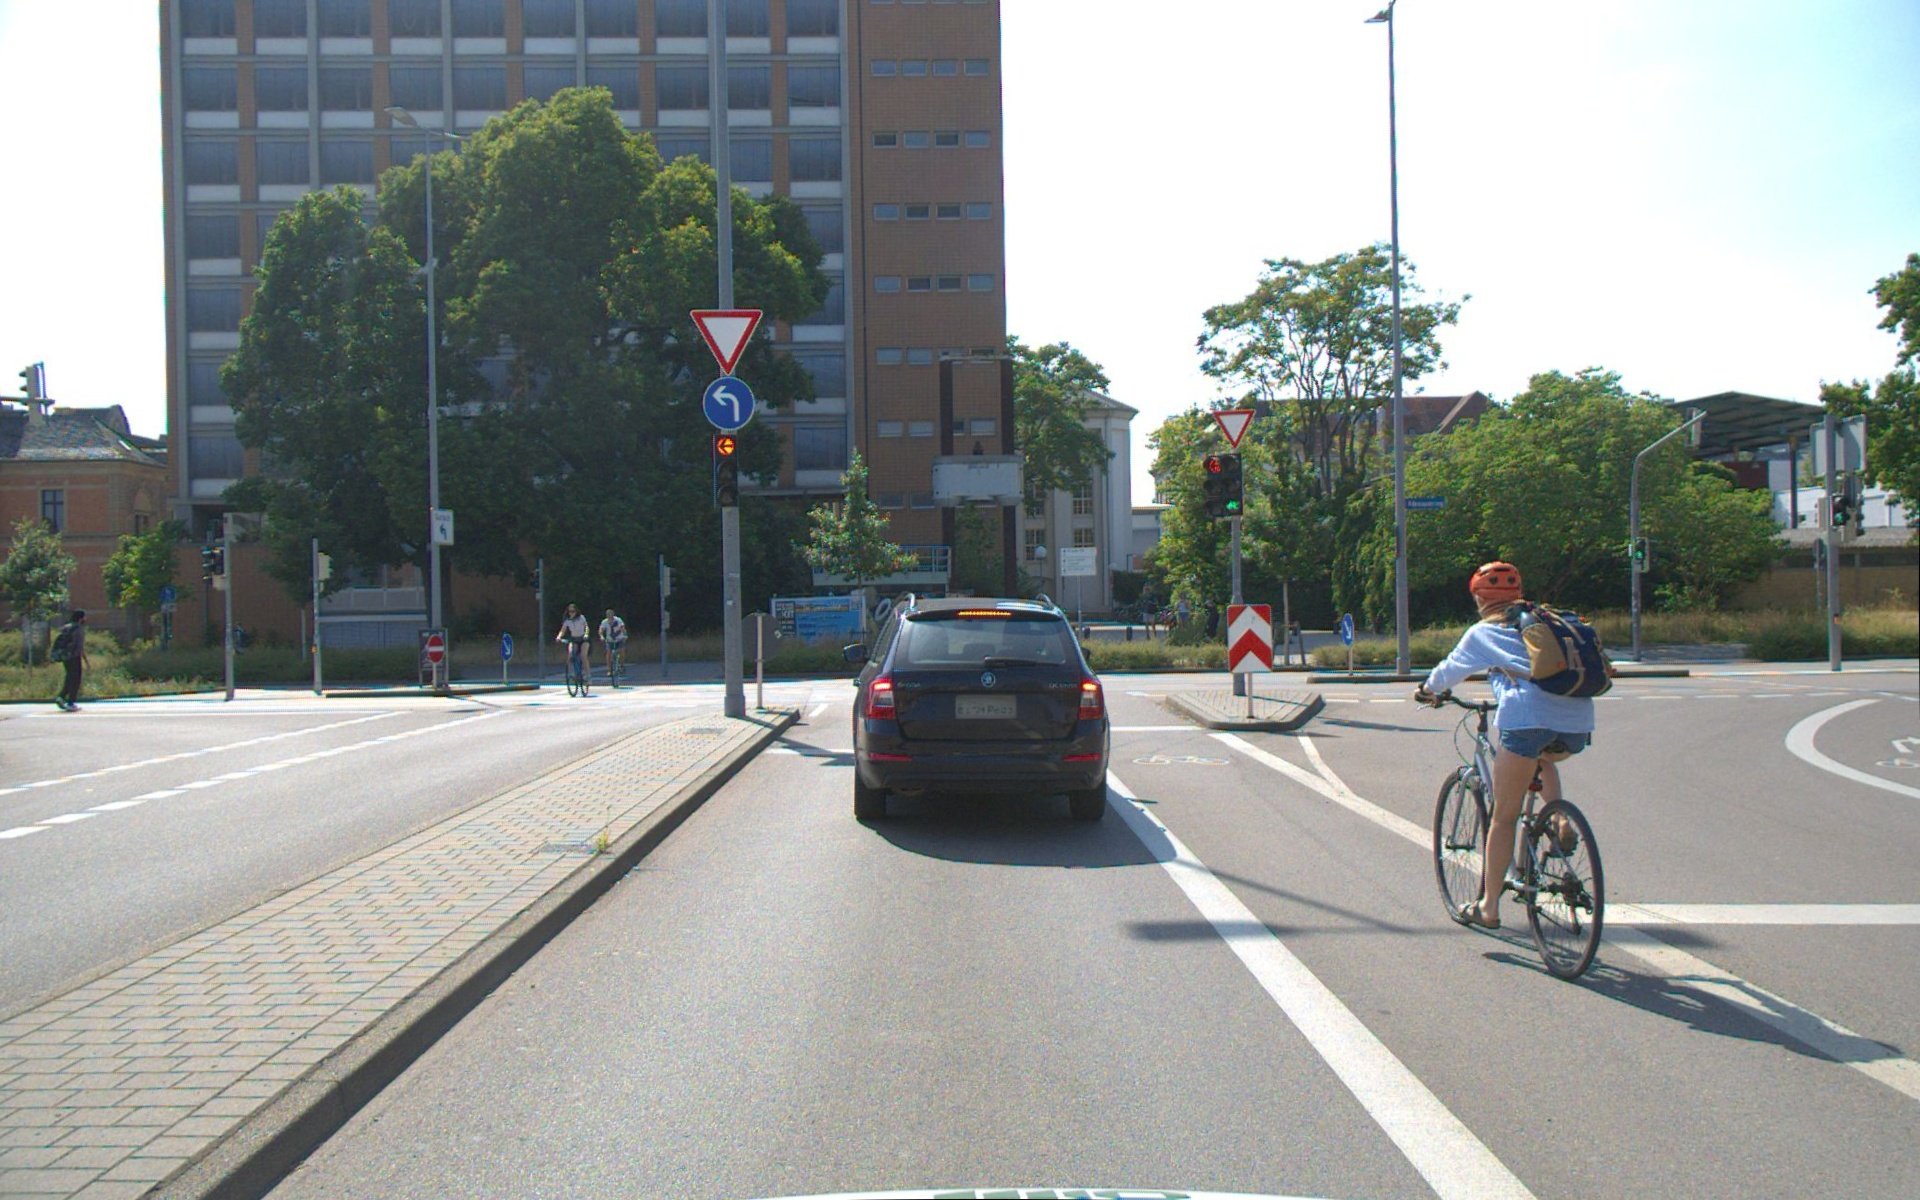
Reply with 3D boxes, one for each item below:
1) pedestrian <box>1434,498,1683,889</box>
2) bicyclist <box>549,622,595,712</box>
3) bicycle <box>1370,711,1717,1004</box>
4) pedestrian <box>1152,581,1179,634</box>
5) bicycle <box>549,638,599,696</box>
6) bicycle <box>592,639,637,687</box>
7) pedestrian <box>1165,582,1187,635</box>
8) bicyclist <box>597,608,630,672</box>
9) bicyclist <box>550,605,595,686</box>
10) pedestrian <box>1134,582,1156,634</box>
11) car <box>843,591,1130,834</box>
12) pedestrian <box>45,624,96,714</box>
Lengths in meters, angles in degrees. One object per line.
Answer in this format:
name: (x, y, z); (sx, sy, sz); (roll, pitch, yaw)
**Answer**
pedestrian: (2.442, 0.359, 6.851); (0.572, 1.492, 1.012); (0, -1, -7)
bicyclist: (-7.268, 1.245, 31.002); (0.606, 1.609, 1.012); (-4, 0, -6)
bicycle: (2.407, 1.013, 7.115); (0.585, 0.948, 2.025); (0, 0, -6)
pedestrian: (7.731, 0.282, 62.146); (0.778, 1.907, 0.638); (-3, 0, 24)
bicycle: (-7.284, 1.246, 31.249); (0.606, 0.977, 1.966); (-4, 0, -5)
bicycle: (-7.971, 1.442, 38.228); (0.690, 0.994, 2.029); (-2, 0, -3)
pedestrian: (7.944, 0.300, 60.910); (0.624, 1.907, 0.796); (-3, 0, -1)
bicyclist: (-7.979, 0.922, 38.113); (0.528, 1.441, 1.029); (-2, -1, -3)
bicyclist: (-7.311, 0.850, 31.234); (0.606, 1.468, 0.919); (-4, 0, -6)
pedestrian: (6.952, 0.303, 62.162); (0.584, 1.907, 0.639); (-3, 0, 22)
car: (0.151, 0.682, 11.978); (1.743, 1.468, 3.817); (0, 0, 0)
pedestrian: (-15.492, 1.197, 28.820); (0.621, 1.518, 0.614); (-2, 0, -17)
